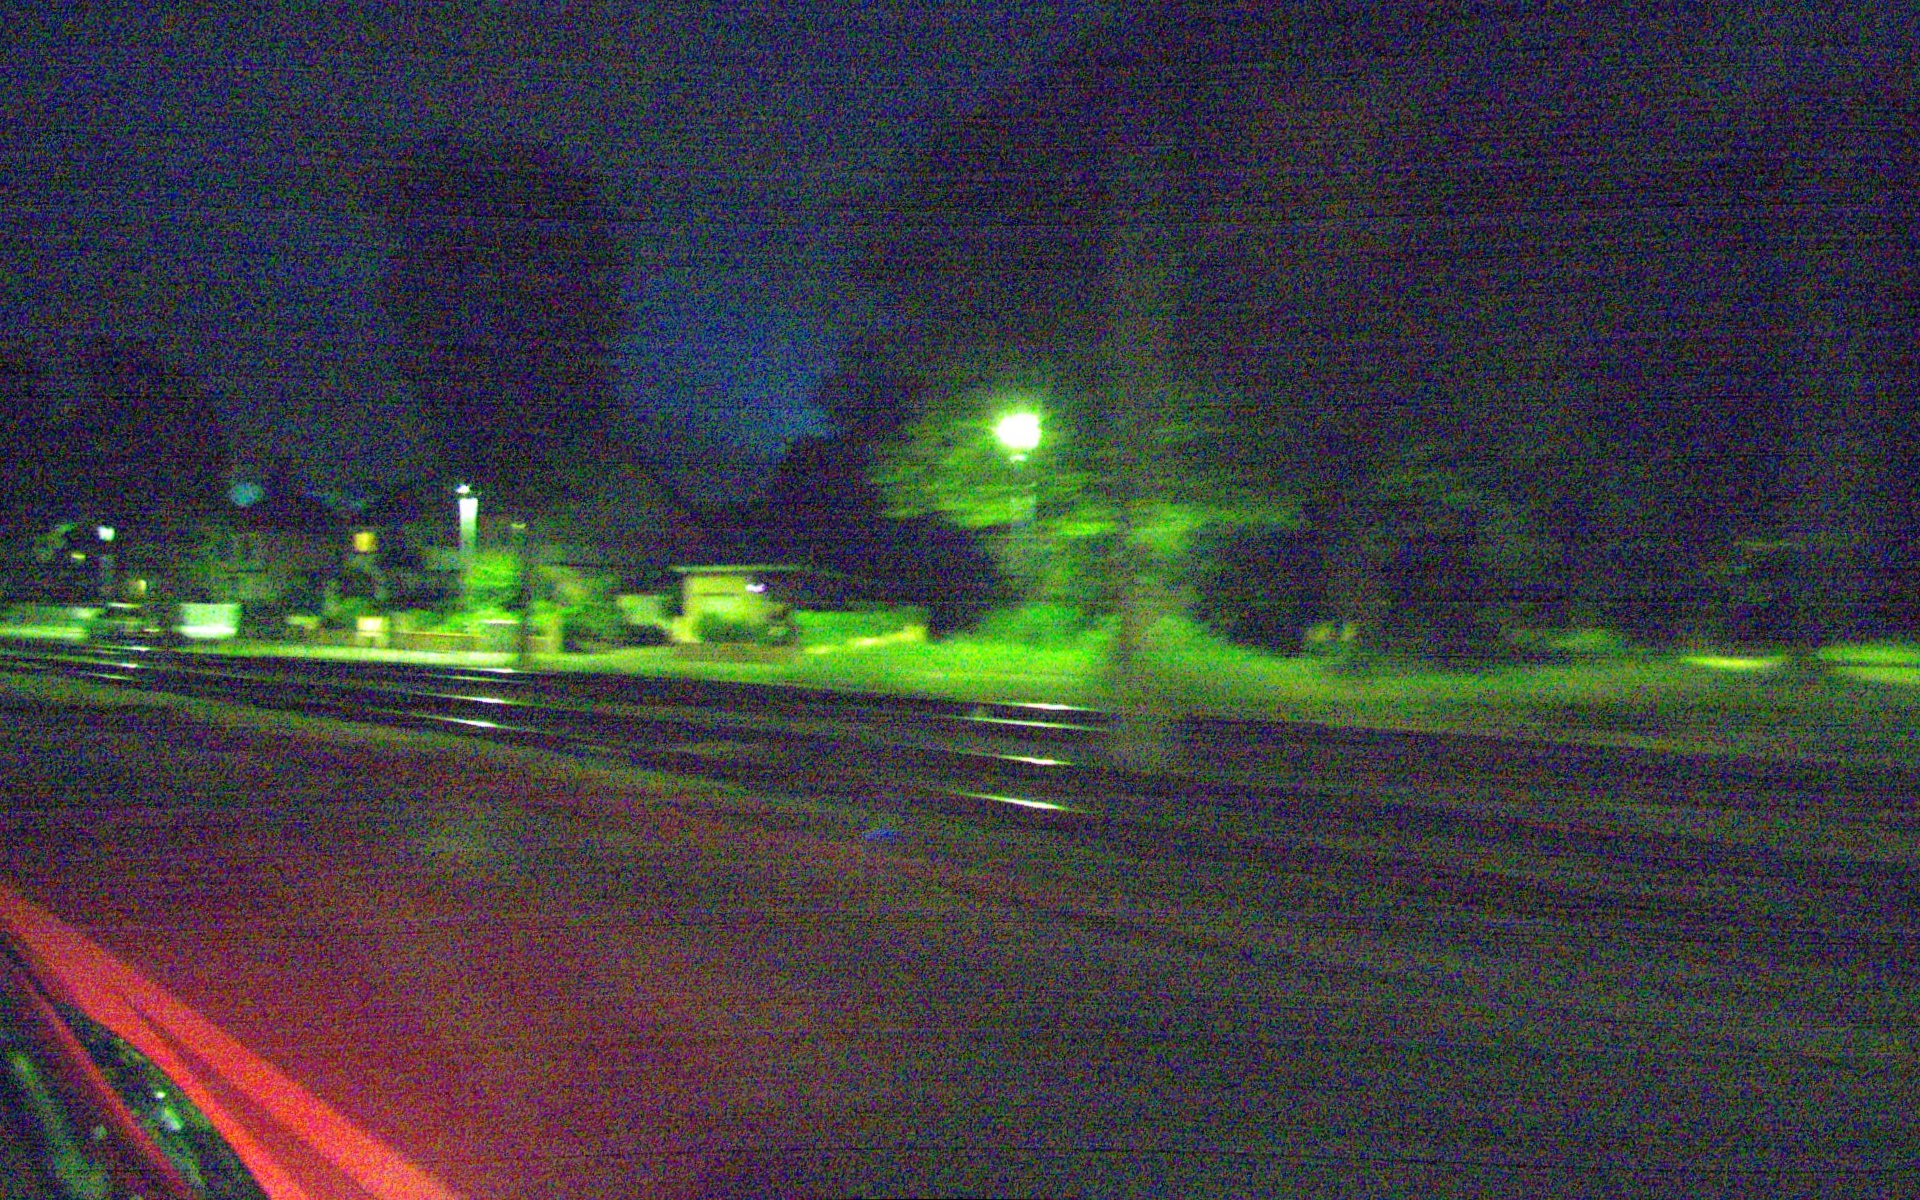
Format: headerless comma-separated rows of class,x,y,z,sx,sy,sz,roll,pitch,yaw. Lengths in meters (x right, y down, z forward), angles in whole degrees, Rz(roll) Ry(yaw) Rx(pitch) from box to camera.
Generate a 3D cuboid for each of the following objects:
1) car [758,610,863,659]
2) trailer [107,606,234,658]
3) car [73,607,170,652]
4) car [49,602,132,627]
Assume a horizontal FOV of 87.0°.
car,-5.611,1.237,38.337,1.753,1.621,3.954,1,1,34
trailer,-29.878,1.190,38.250,5.657,1.794,2.008,0,-3,33
car,-34.118,1.185,41.137,4.522,1.589,1.703,1,-4,33
car,-60.186,0.956,70.123,1.882,1.554,3.960,1,1,29
